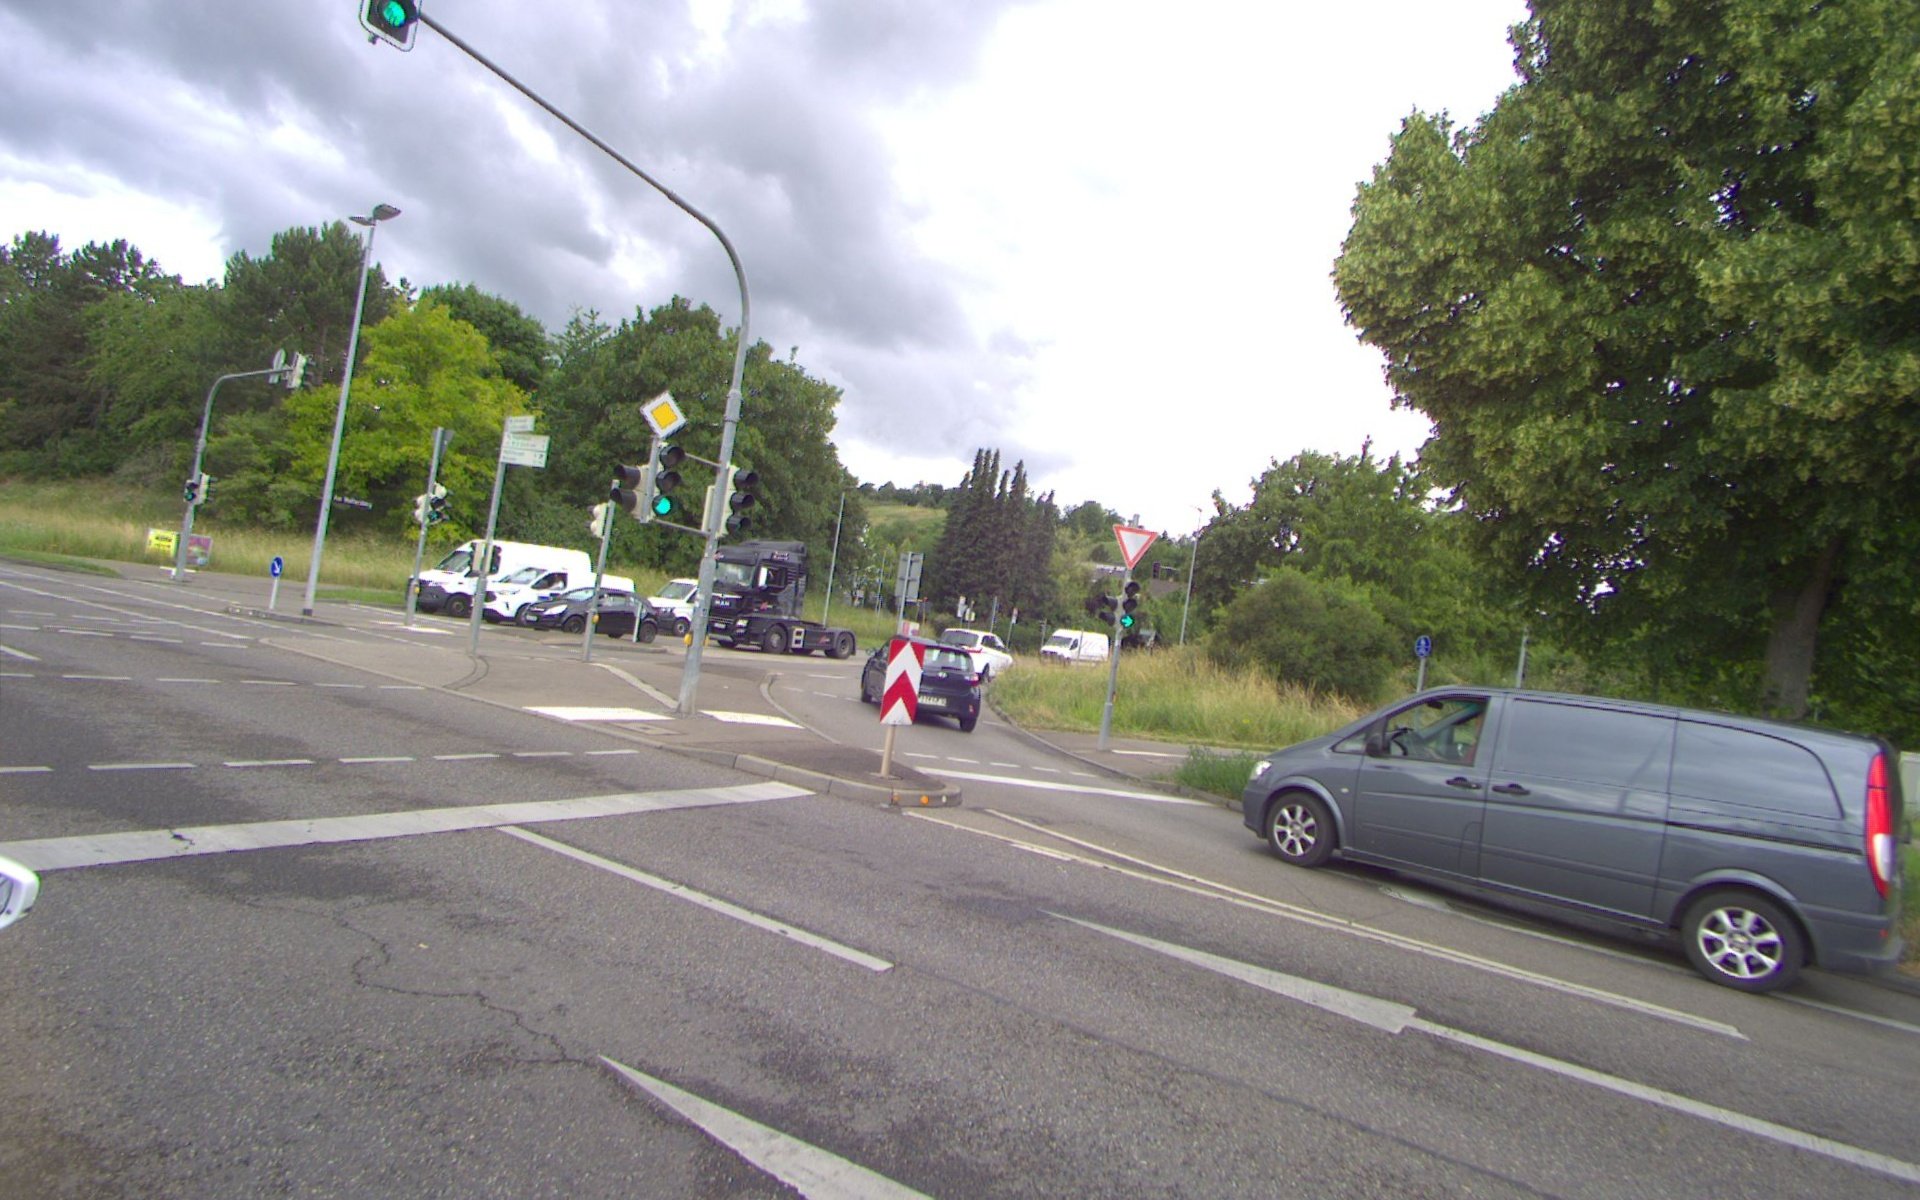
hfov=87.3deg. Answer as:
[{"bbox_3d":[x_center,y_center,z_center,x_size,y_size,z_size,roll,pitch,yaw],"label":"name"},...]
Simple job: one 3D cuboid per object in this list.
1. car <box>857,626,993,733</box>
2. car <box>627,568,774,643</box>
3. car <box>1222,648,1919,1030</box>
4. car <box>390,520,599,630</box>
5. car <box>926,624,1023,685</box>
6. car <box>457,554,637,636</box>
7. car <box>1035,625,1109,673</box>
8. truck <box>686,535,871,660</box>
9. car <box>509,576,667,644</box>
[{"bbox_3d":[-0.759,1.409,18.789,1.601,1.446,3.605,10,-2,-15],"label":"car"},{"bbox_3d":[-10.421,0.292,40.904,2.100,2.316,5.709,7,-1,32],"label":"car"},{"bbox_3d":[4.860,1.680,8.428,1.914,1.852,4.663,13,-5,-44],"label":"car"},{"bbox_3d":[-15.331,-0.734,33.596,2.100,2.814,5.903,7,-1,32],"label":"car"},{"bbox_3d":[0.567,1.840,33.215,1.750,1.613,4.462,8,-1,19],"label":"car"},{"bbox_3d":[-12.928,-0.093,31.815,1.999,1.918,4.862,7,-1,31],"label":"car"},{"bbox_3d":[7.716,3.404,68.418,2.160,2.640,6.509,7,-1,32],"label":"car"},{"bbox_3d":[-6.207,0.026,35.339,2.682,3.580,6.061,7,-1,32],"label":"truck"},{"bbox_3d":[-10.601,0.337,28.928,1.703,1.453,3.927,7,-1,31],"label":"car"}]
